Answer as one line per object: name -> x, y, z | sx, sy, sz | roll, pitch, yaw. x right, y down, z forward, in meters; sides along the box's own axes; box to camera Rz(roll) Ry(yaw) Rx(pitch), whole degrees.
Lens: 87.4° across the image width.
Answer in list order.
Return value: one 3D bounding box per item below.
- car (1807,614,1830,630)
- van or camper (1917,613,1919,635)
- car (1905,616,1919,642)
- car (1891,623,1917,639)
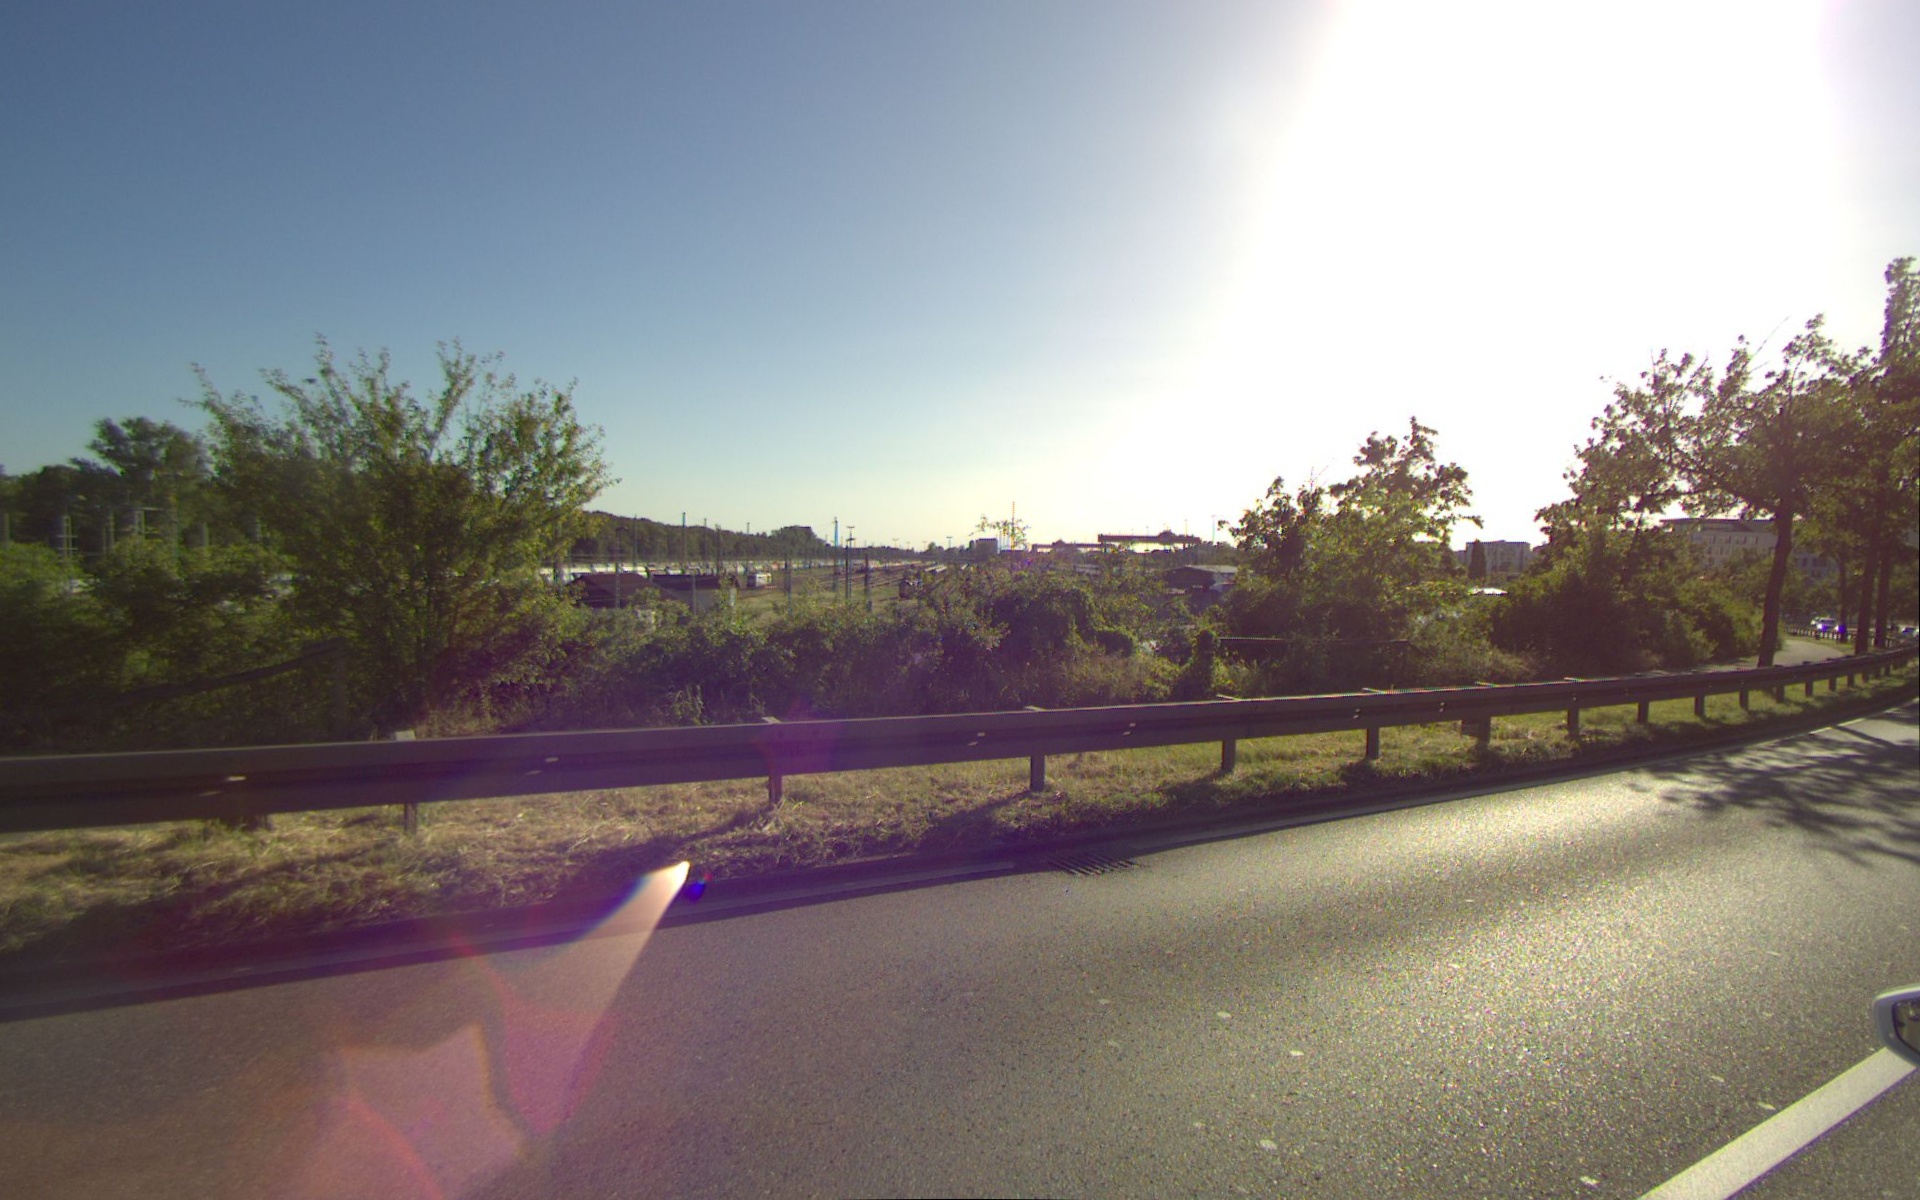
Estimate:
car -> 90.385, 2.324, 105.787 | 1.788, 1.575, 4.120 | 2, 0, 40
van or camper -> 86.600, 2.214, 89.455 | 1.805, 1.815, 4.518 | 5, 4, 43
car -> 70.007, 2.136, 72.801 | 1.888, 1.826, 4.107 | 5, 3, 41
car -> 103.493, 3.381, 110.163 | 1.788, 1.575, 4.120 | 2, 0, 40
